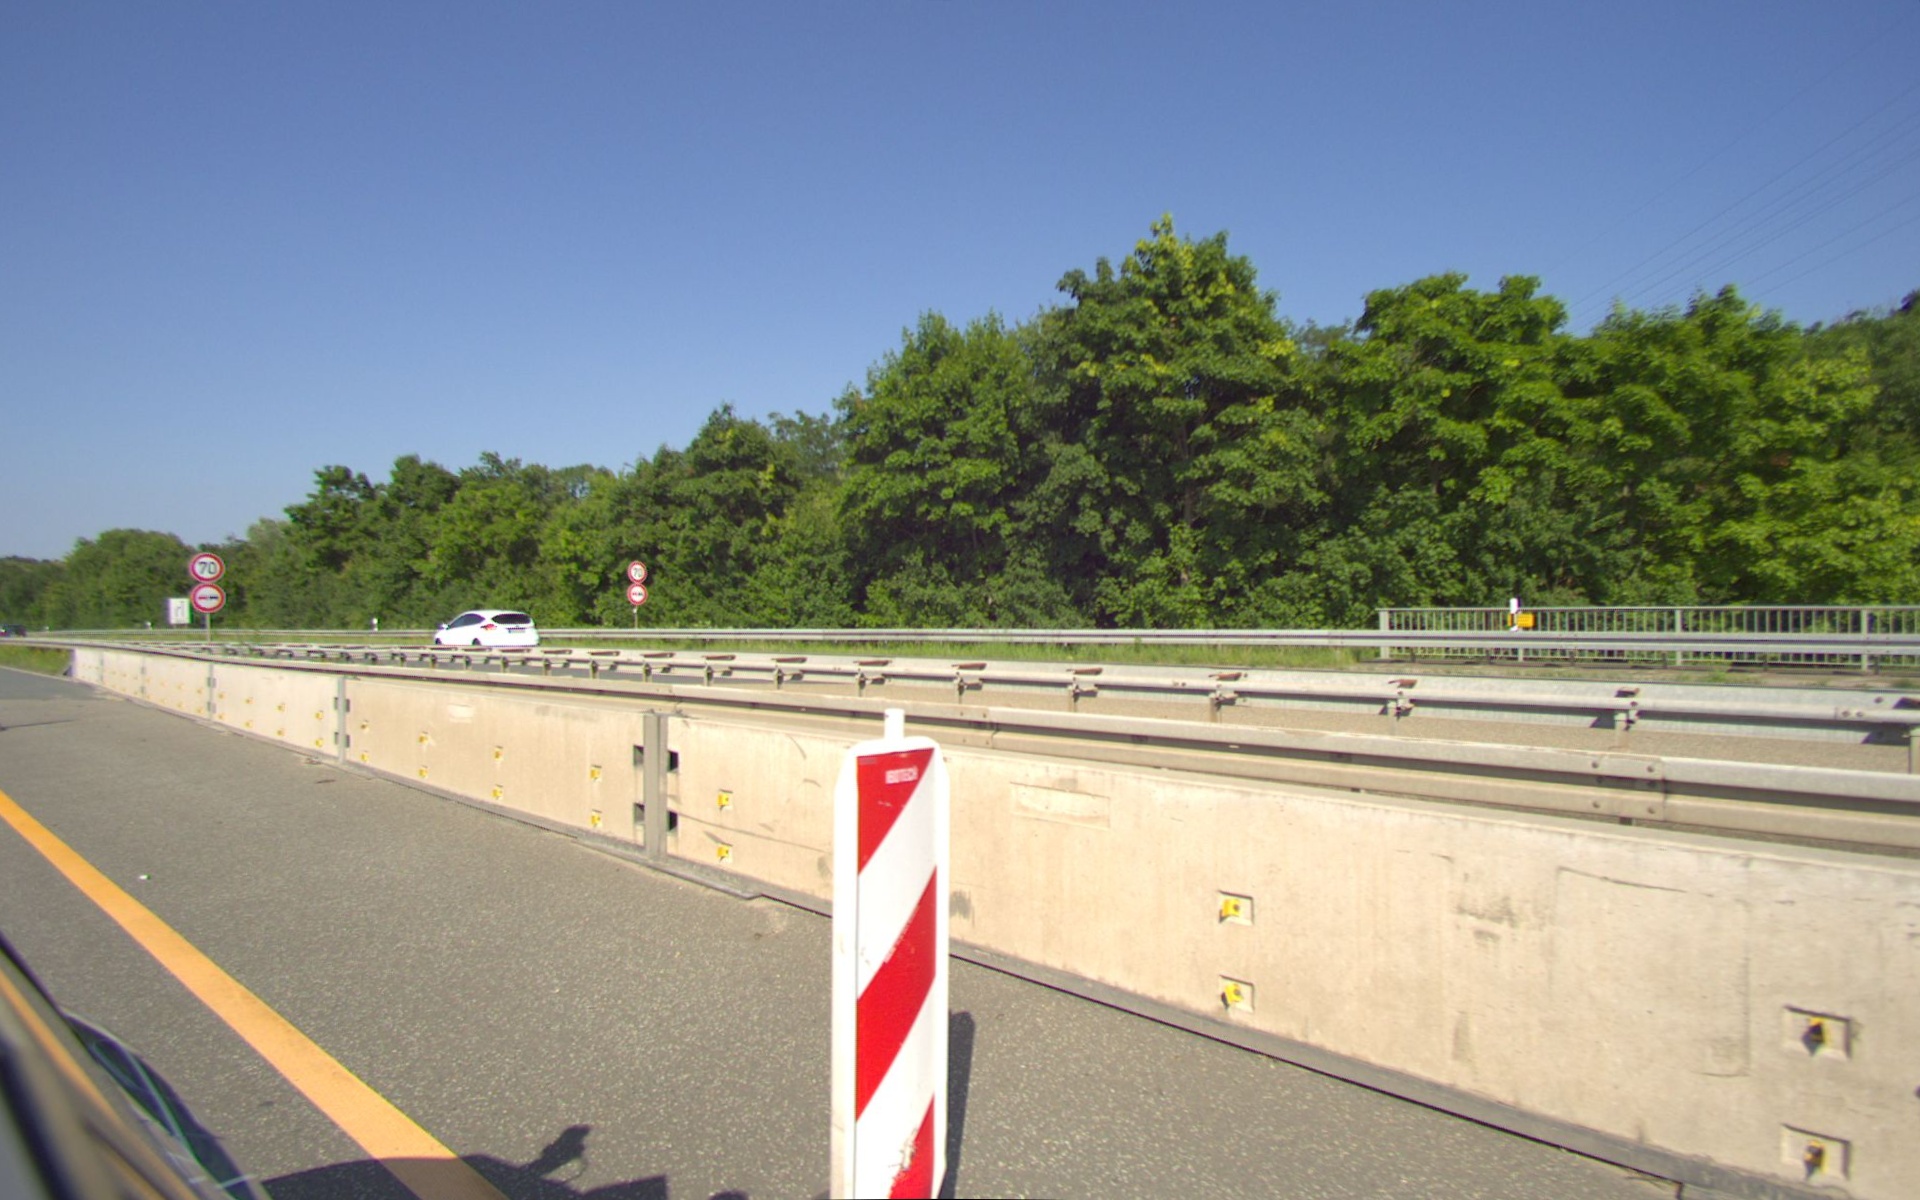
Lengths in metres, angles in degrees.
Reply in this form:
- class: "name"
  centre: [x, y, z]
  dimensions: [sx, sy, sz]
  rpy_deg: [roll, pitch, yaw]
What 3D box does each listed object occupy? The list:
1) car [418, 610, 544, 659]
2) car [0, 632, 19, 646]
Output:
- class: "car"
  centre: [-14.592, 1.028, 30.739]
  dimensions: [4.548, 1.349, 1.722]
  rpy_deg: [-1, 0, 40]
- class: "car"
  centre: [-79.496, 3.222, 83.996]
  dimensions: [3.765, 1.155, 1.575]
  rpy_deg: [-1, -2, 39]
